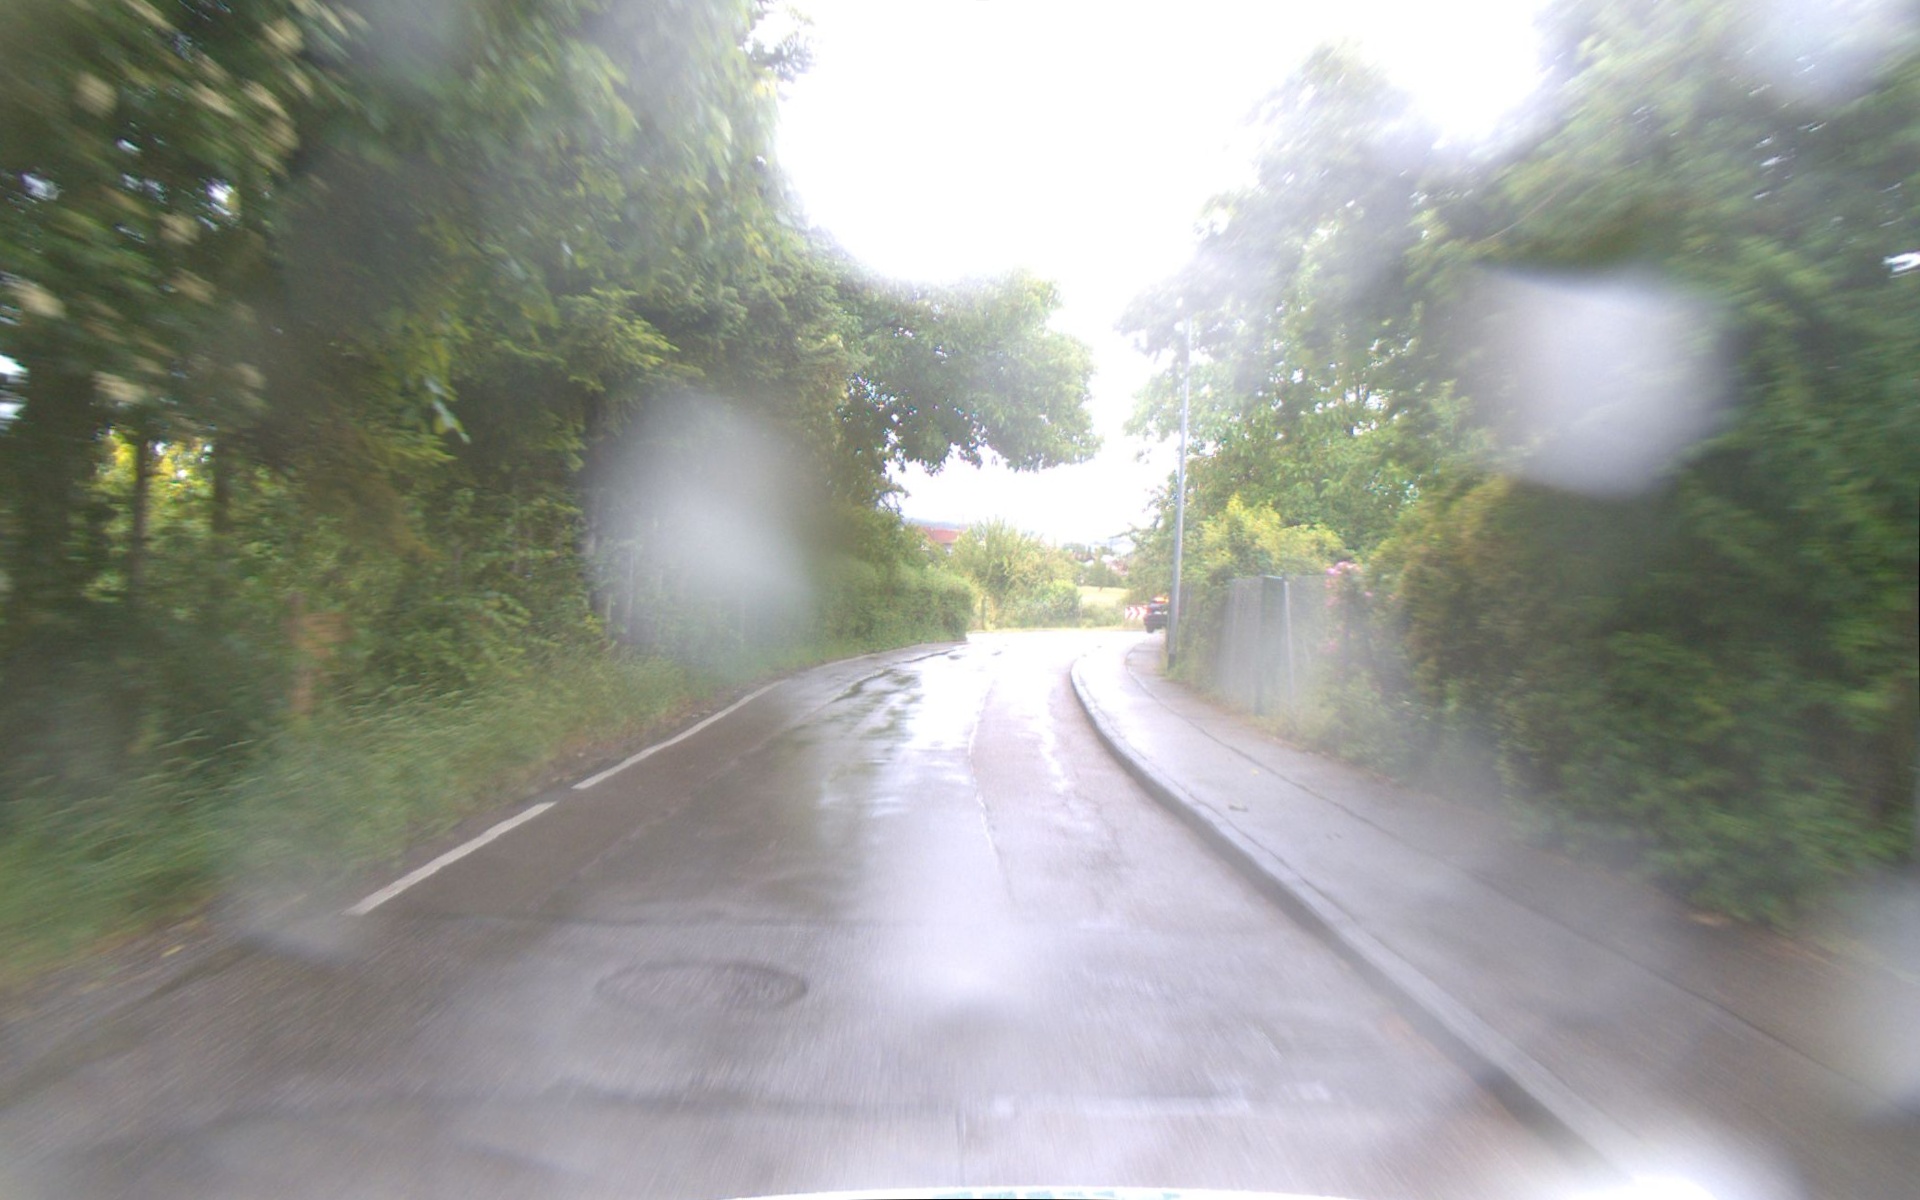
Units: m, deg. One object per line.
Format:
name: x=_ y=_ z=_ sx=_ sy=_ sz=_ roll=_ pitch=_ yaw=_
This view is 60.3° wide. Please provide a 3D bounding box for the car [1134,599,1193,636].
car: x=8.510 y=0.730 z=68.875 sx=1.601 sy=1.475 sz=3.544 roll=1 pitch=-1 yaw=22
